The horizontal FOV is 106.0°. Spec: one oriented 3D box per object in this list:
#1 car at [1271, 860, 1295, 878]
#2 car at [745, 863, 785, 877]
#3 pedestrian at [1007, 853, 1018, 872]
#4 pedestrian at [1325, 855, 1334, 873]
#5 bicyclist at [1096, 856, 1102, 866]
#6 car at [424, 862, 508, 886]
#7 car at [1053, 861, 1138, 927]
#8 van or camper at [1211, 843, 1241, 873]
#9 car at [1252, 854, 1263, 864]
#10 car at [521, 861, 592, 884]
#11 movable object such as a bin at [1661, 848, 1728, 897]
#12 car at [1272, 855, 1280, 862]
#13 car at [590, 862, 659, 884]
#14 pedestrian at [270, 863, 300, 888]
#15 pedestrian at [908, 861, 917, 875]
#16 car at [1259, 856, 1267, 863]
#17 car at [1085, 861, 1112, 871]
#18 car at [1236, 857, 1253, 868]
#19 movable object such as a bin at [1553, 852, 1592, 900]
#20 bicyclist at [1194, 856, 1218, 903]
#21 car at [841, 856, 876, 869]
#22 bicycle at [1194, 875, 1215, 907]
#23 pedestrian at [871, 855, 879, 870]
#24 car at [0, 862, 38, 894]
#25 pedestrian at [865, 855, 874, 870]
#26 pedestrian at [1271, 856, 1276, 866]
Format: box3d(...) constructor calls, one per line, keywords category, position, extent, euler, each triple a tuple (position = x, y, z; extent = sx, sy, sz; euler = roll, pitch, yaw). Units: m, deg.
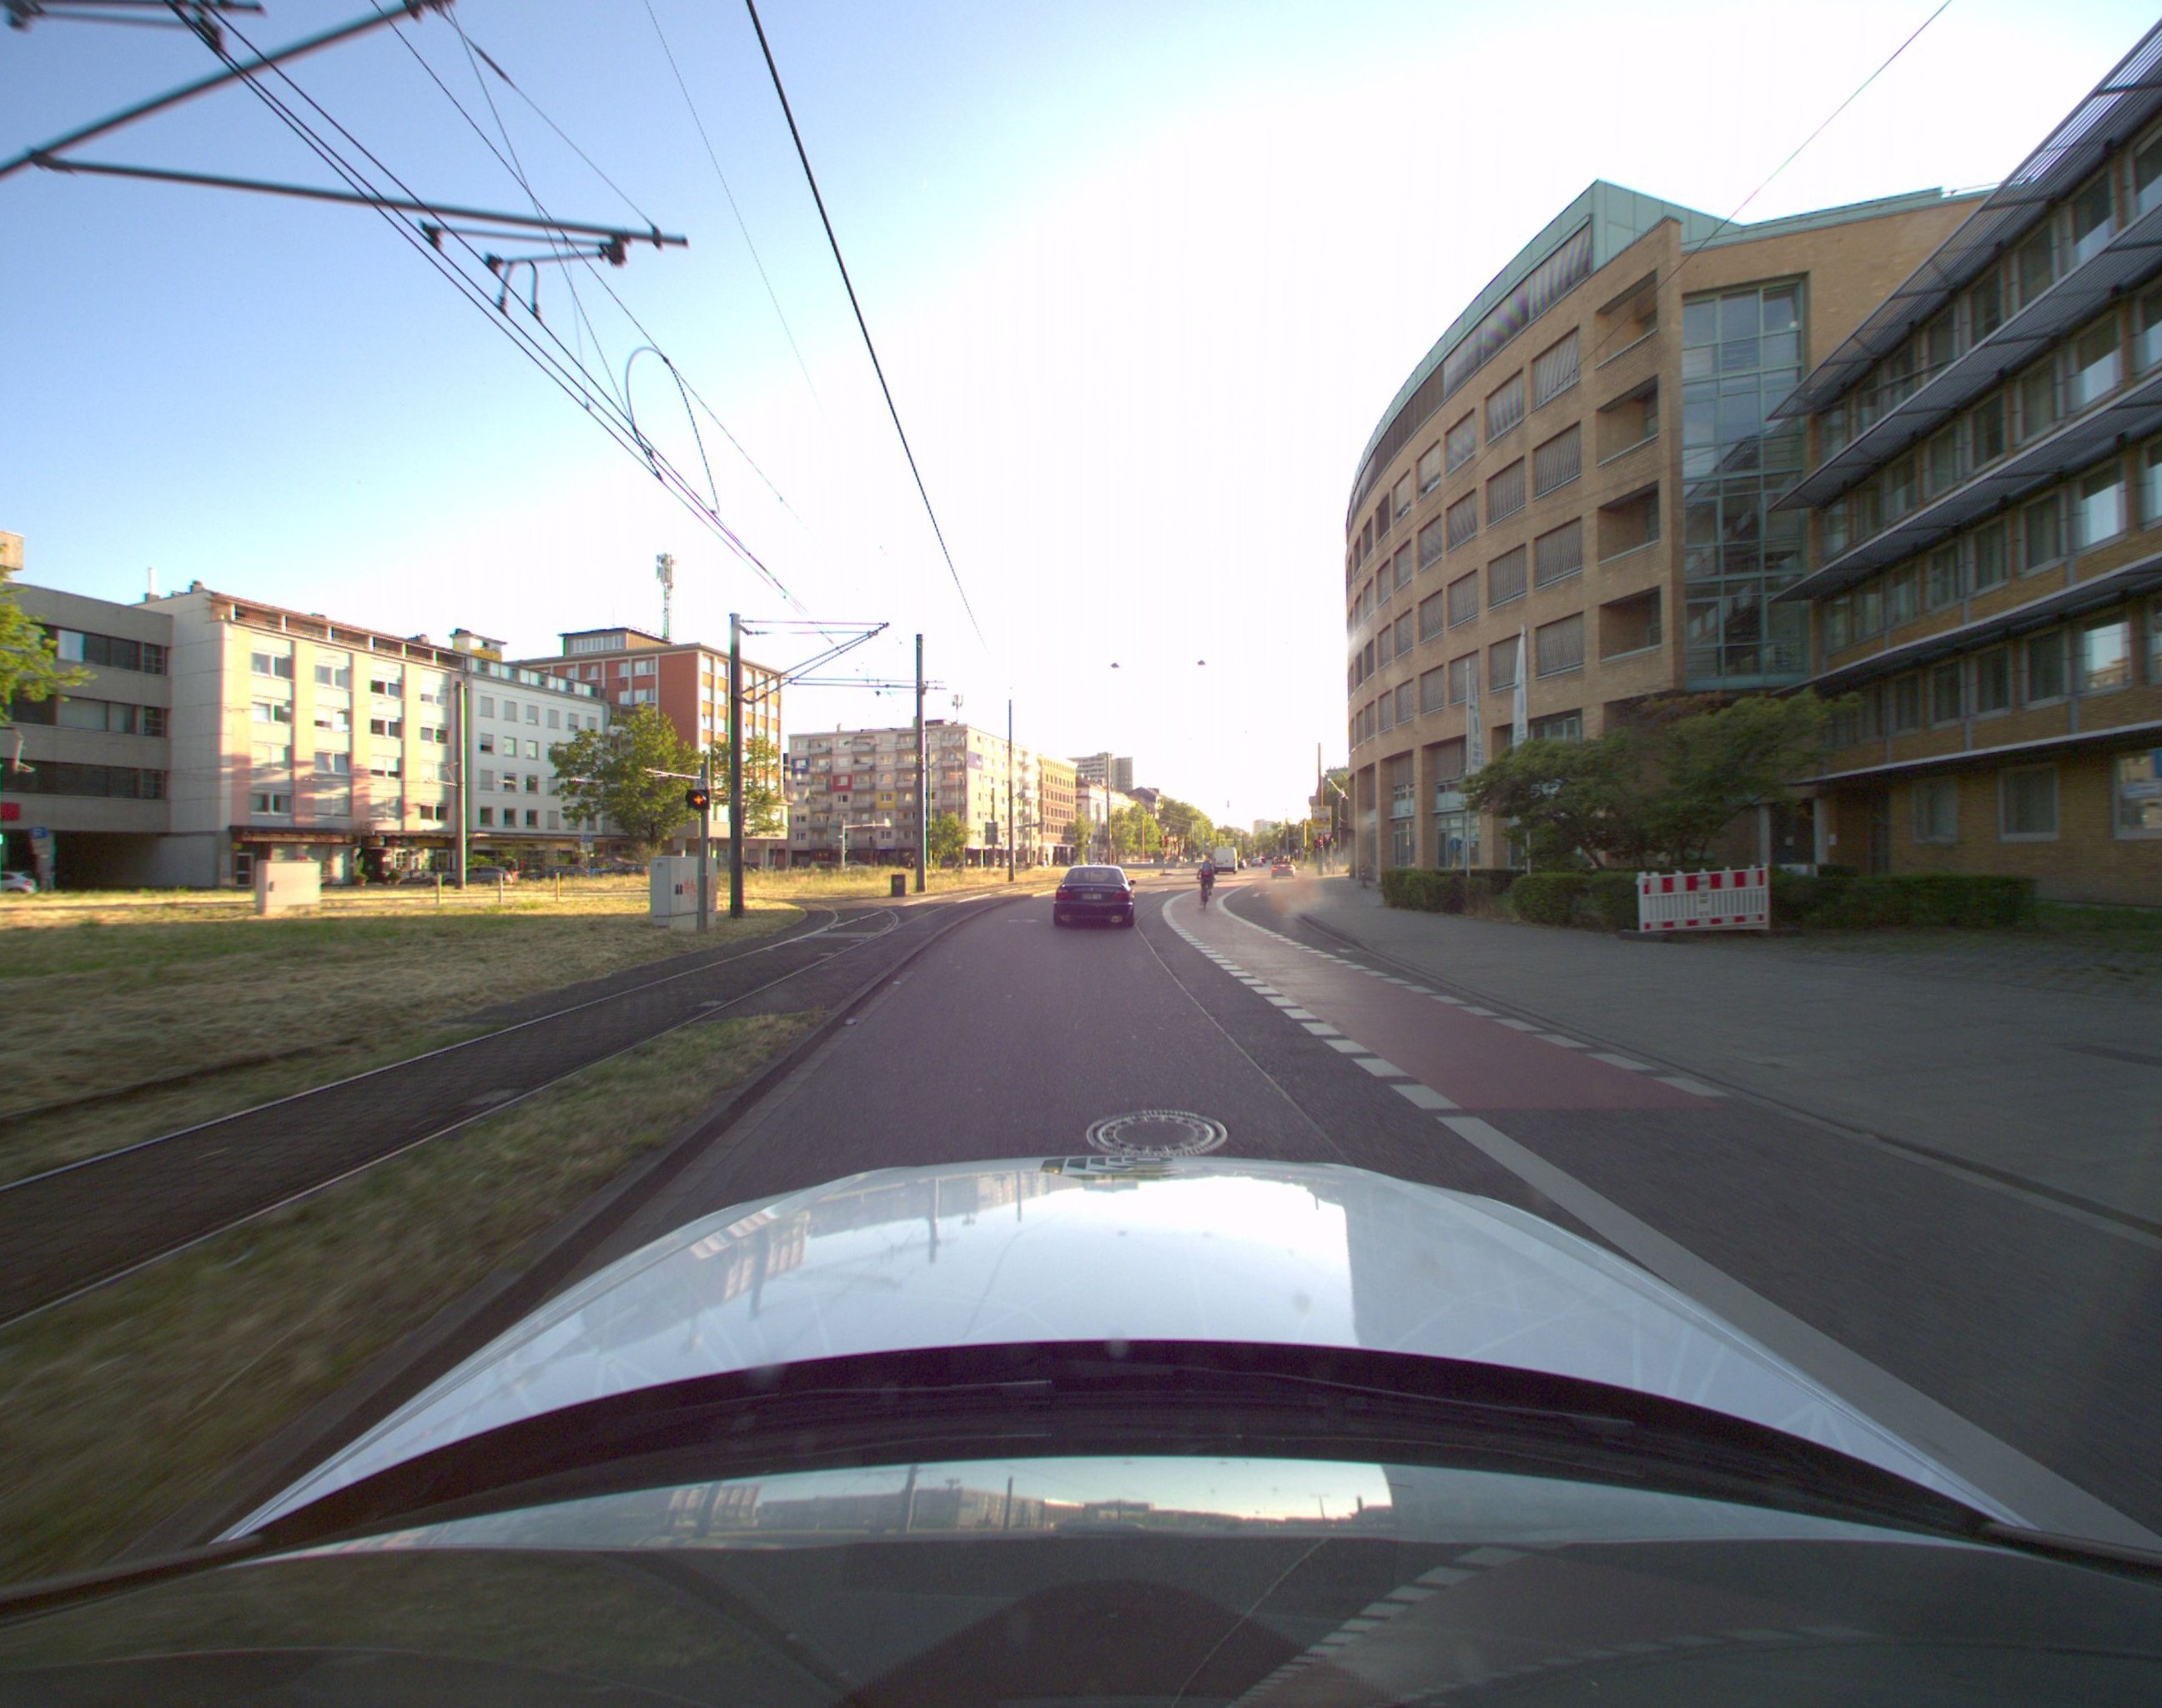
box3d(category="car", position=(16.126, 1.163, 64.799), extent=(1.770, 1.354, 4.284), euler=(0, 1, 15))
box3d(category="car", position=(-40.258, 2.035, 103.707), extent=(4.253, 1.585, 1.995), euler=(-1, 1, 10))
box3d(category="pedestrian", position=(-6.449, 0.761, 76.432), extent=(0.712, 1.762, 0.654), euler=(-1, 0, 37))
box3d(category="pedestrian", position=(23.019, 0.925, 75.398), extent=(0.672, 1.569, 0.803), euler=(-1, 0, 14))
box3d(category="bicyclist", position=(2.747, 1.026, 122.733), extent=(0.850, 1.442, 0.663), euler=(1, 1, 1))
box3d(category="car", position=(-39.651, 1.258, 52.584), extent=(1.689, 1.390, 4.025), euler=(-1, 1, 40))
box3d(category="car", position=(0.437, 0.884, 19.944), extent=(1.822, 1.354, 4.645), euler=(1, 0, 3))
box3d(category="van or camper", position=(13.660, 0.335, 76.462), extent=(2.245, 2.625, 4.523), euler=(-1, 1, 17))
box3d(category="car", position=(29.998, 0.869, 138.564), extent=(1.782, 1.566, 4.014), euler=(-1, 1, 12))
box3d(category="car", position=(-38.726, 1.357, 60.213), extent=(1.737, 1.526, 4.026), euler=(-1, 1, 38))
box3d(category="movable object such as a bin", position=(18.441, 0.540, 24.508), extent=(1.333, 1.424, 0.926), euler=(-1, 0, 8))
box3d(category="car", position=(47.441, 1.101, 198.137), extent=(1.782, 1.566, 4.014), euler=(-1, 1, 12))
box3d(category="car", position=(-35.567, 1.487, 63.571), extent=(1.737, 1.526, 4.319), euler=(-1, 1, 38))
box3d(category="pedestrian", position=(-50.288, 1.368, 51.429), extent=(1.110, 1.528, 0.856), euler=(-1, 0, 13))
box3d(category="pedestrian", position=(-20.462, 1.644, 98.896), extent=(0.733, 1.669, 0.786), euler=(-1, 0, 16))
box3d(category="car", position=(43.224, 1.244, 193.600), extent=(1.782, 1.566, 4.014), euler=(-1, 1, 12))
box3d(category="car", position=(2.675, 1.899, 124.464), extent=(3.971, 1.434, 1.719), euler=(1, 1, 2))
box3d(category="car", position=(21.463, 1.098, 106.699), extent=(1.724, 1.386, 4.018), euler=(-1, 1, 17))
box3d(category="movable object such as a bin", position=(15.669, 0.677, 25.932), extent=(0.961, 1.437, 1.354), euler=(-1, 1, 35))
box3d(category="bicyclist", position=(4.071, 0.819, 26.519), extent=(0.650, 1.483, 1.042), euler=(1, 0, 14))
box3d(category="car", position=(-28.877, 1.091, 105.768), extent=(3.840, 1.585, 1.809), euler=(-1, 1, 10))
box3d(category="bicycle", position=(4.051, 1.187, 26.594), extent=(0.511, 0.954, 1.782), euler=(1, 0, 14))
box3d(category="pedestrian", position=(-24.867, 1.030, 98.394), extent=(0.598, 1.847, 0.826), euler=(-1, 0, 16))
box3d(category="car", position=(-54.713, 1.241, 40.069), extent=(1.737, 1.552, 4.025), euler=(-1, 1, 41))
box3d(category="pedestrian", position=(-25.629, 1.041, 98.646), extent=(0.699, 1.852, 0.740), euler=(-1, 0, 16))
box3d(category="pedestrian", position=(29.503, 1.013, 124.673), extent=(0.611, 1.475, 0.804), euler=(-1, 0, 20))
